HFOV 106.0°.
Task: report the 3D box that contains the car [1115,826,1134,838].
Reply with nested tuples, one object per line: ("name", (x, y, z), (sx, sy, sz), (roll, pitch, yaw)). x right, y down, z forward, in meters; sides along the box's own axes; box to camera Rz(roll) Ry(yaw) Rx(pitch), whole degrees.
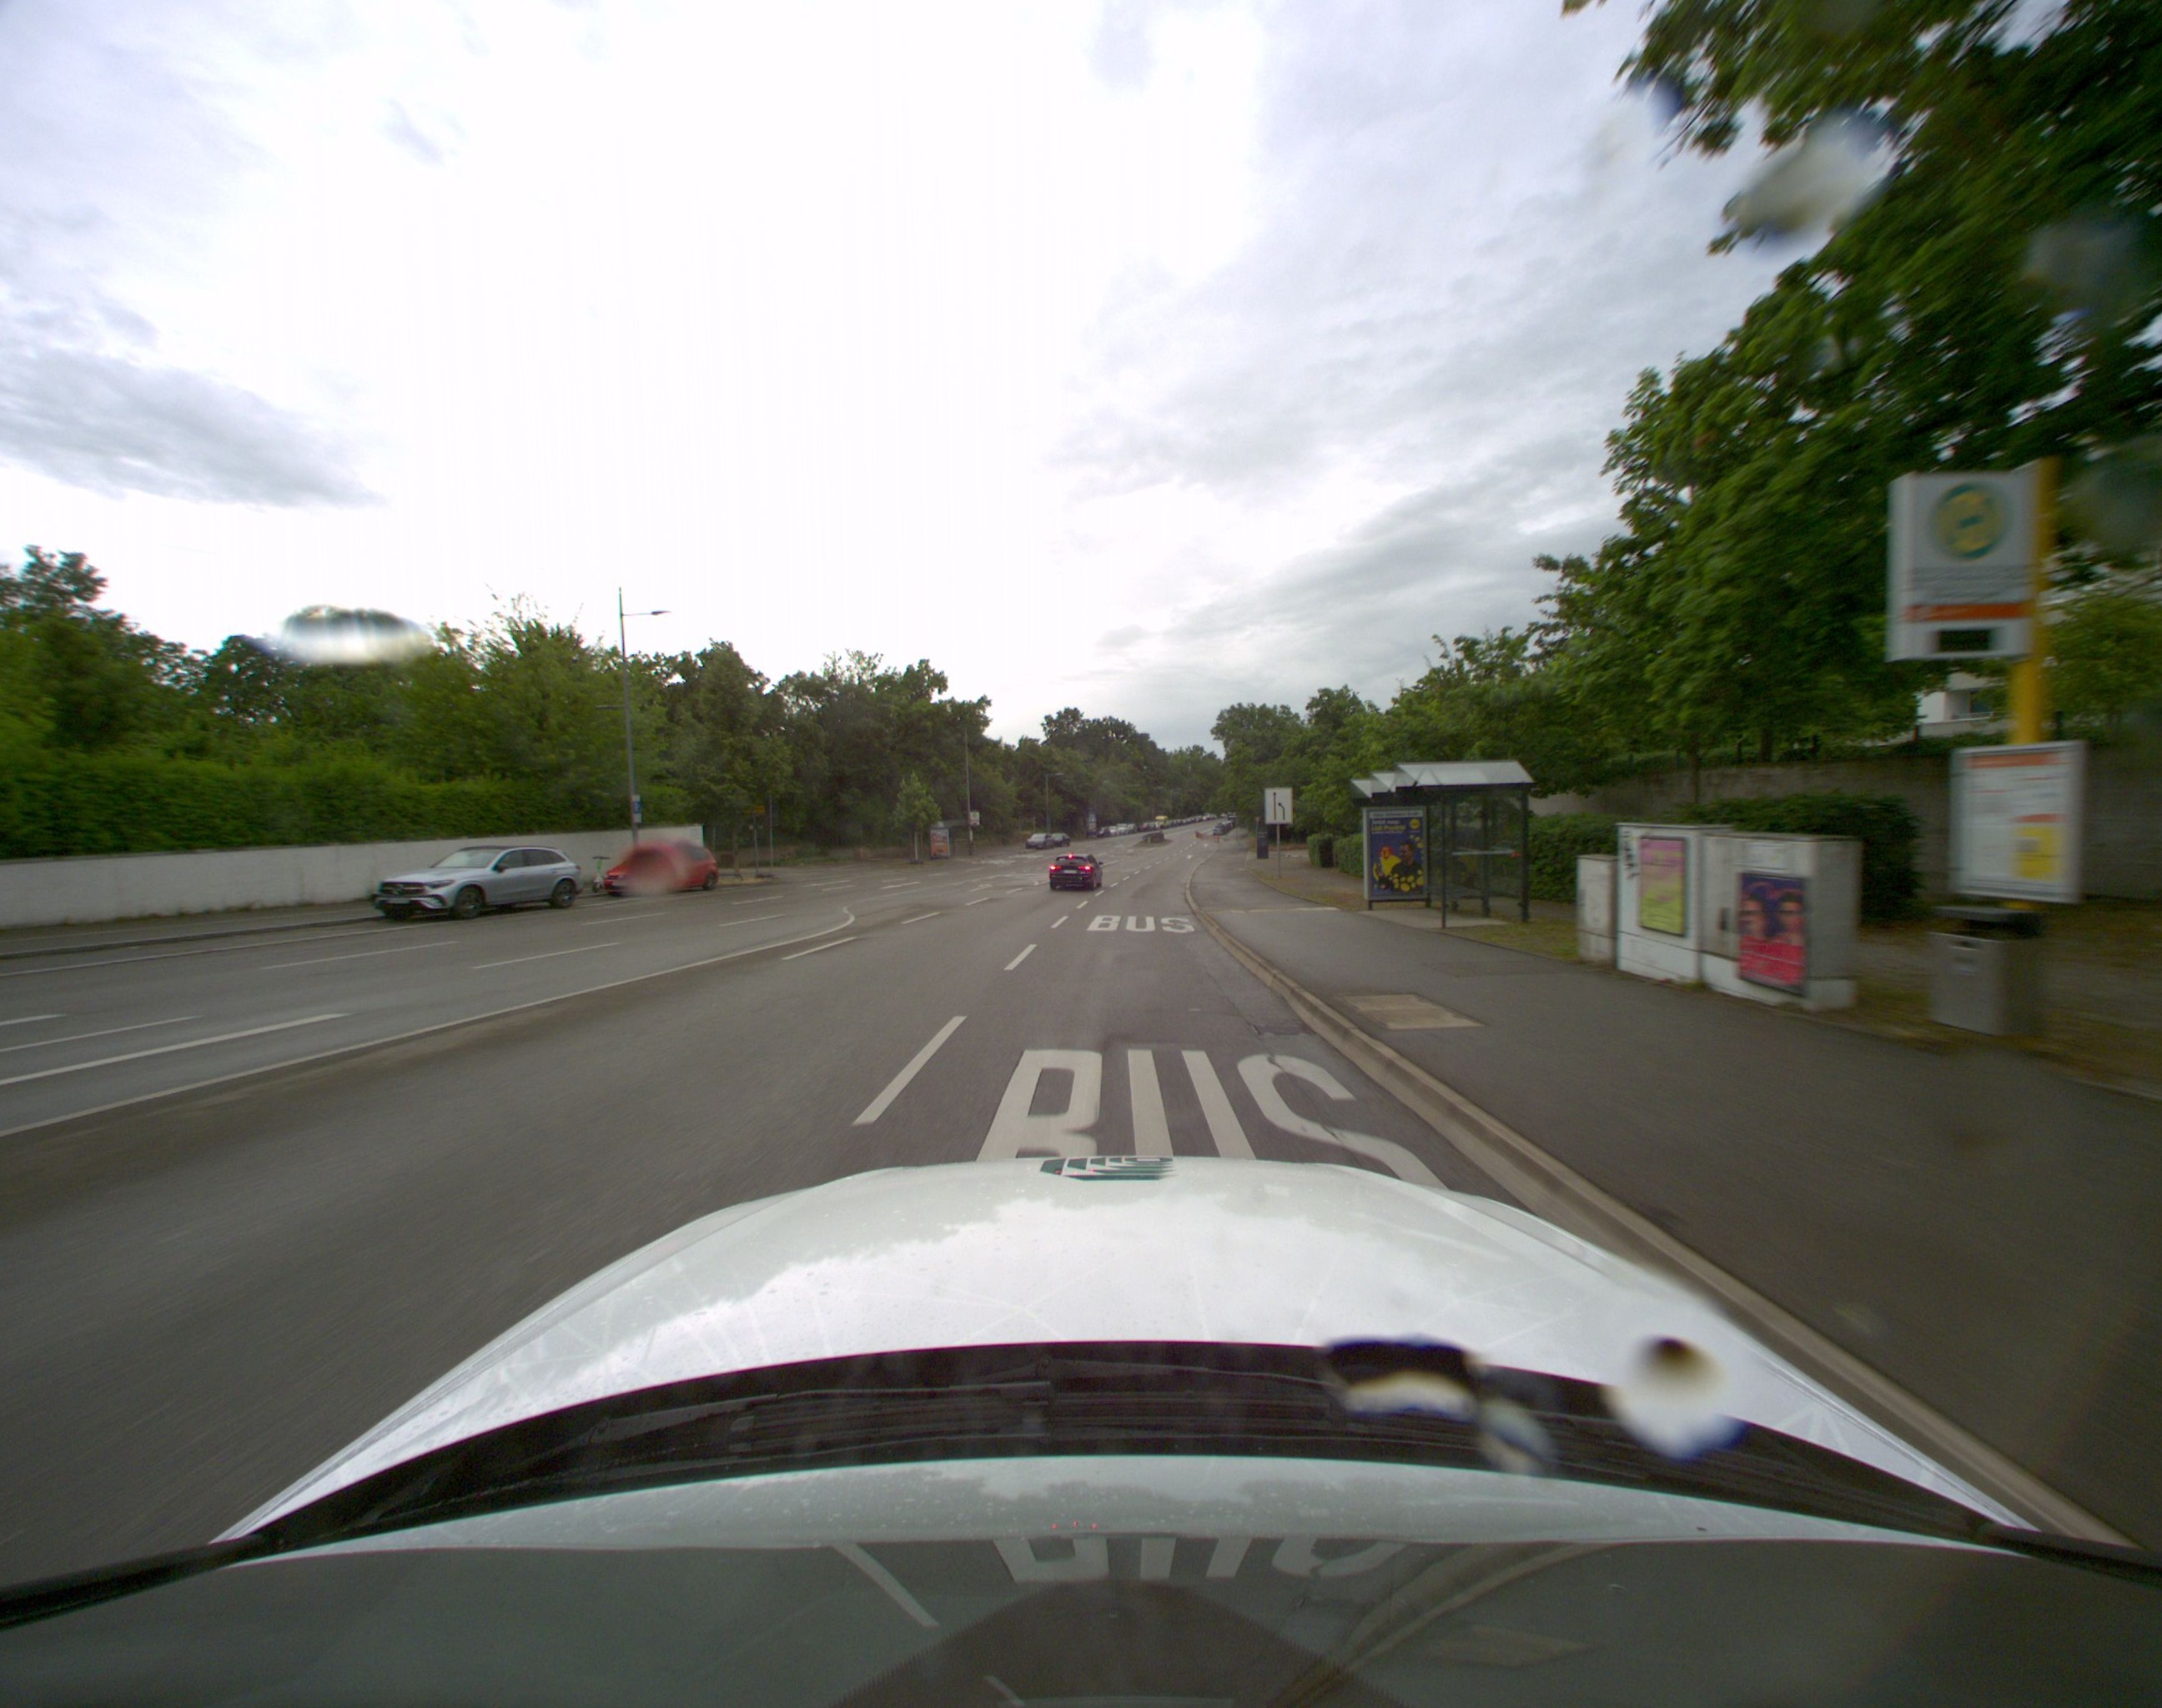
("car", (6.762, -3.401, 127.315), (1.979, 1.765, 4.981), (0, 3, 14))

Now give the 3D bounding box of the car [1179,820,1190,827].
("car", (23.774, -7.001, 186.675), (1.856, 1.303, 4.490), (0, 3, 15))

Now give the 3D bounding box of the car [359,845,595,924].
("car", (-14.487, 0.631, 20.002), (1.755, 1.653, 4.893), (1, 1, 7))

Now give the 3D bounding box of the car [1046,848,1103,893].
("car", (-0.217, 0.619, 33.178), (1.871, 1.465, 4.008), (1, 4, 5))

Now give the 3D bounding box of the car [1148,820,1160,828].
("car", (13.974, -5.784, 155.518), (1.605, 1.448, 3.673), (-1, 3, 16))

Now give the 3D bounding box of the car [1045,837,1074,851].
("car", (-2.264, -1.080, 87.786), (1.892, 1.414, 4.802), (1, 2, 14))

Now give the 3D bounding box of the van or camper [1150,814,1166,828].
("van or camper", (15.409, -6.610, 162.499), (2.127, 2.626, 5.708), (0, 3, 16))

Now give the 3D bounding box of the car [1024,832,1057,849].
("car", (-4.015, -1.341, 81.405), (1.828, 1.589, 4.949), (1, 2, 14))

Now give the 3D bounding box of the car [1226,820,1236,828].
("car", (29.938, -5.910, 162.448), (1.810, 1.485, 4.214), (-1, 1, 12))

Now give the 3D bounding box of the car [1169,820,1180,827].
("car", (20.484, -6.645, 178.173), (1.590, 1.509, 3.995), (0, 3, 16))

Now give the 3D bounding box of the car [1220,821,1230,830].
("car", (24.976, -4.997, 141.461), (1.549, 1.460, 3.689), (1, 3, 12))

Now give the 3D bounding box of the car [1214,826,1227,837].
("car", (20.777, -3.362, 120.855), (1.810, 1.614, 4.265), (0, 3, 10))

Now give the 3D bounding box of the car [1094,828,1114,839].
("car", (3.318, -2.874, 115.779), (1.735, 1.444, 4.609), (1, 3, 17))

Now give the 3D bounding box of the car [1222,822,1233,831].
("car", (26.566, -4.941, 147.974), (1.647, 1.464, 3.916), (2, 4, 14))

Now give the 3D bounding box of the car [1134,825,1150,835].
("car", (10.793, -4.257, 144.465), (1.904, 1.616, 4.510), (-1, 3, 16))

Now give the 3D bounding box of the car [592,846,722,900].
("car", (-13.804, 0.554, 26.808), (1.656, 1.586, 4.225), (-1, 1, 7))

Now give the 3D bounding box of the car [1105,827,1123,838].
("car", (4.901, -3.147, 120.930), (1.706, 1.460, 4.729), (0, 3, 15))

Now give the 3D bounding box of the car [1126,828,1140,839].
("car", (8.579, -3.462, 134.623), (1.720, 1.648, 4.588), (0, 3, 12))

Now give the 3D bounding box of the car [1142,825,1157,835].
("car", (12.734, -4.406, 150.613), (1.979, 1.699, 4.634), (0, 3, 13))
